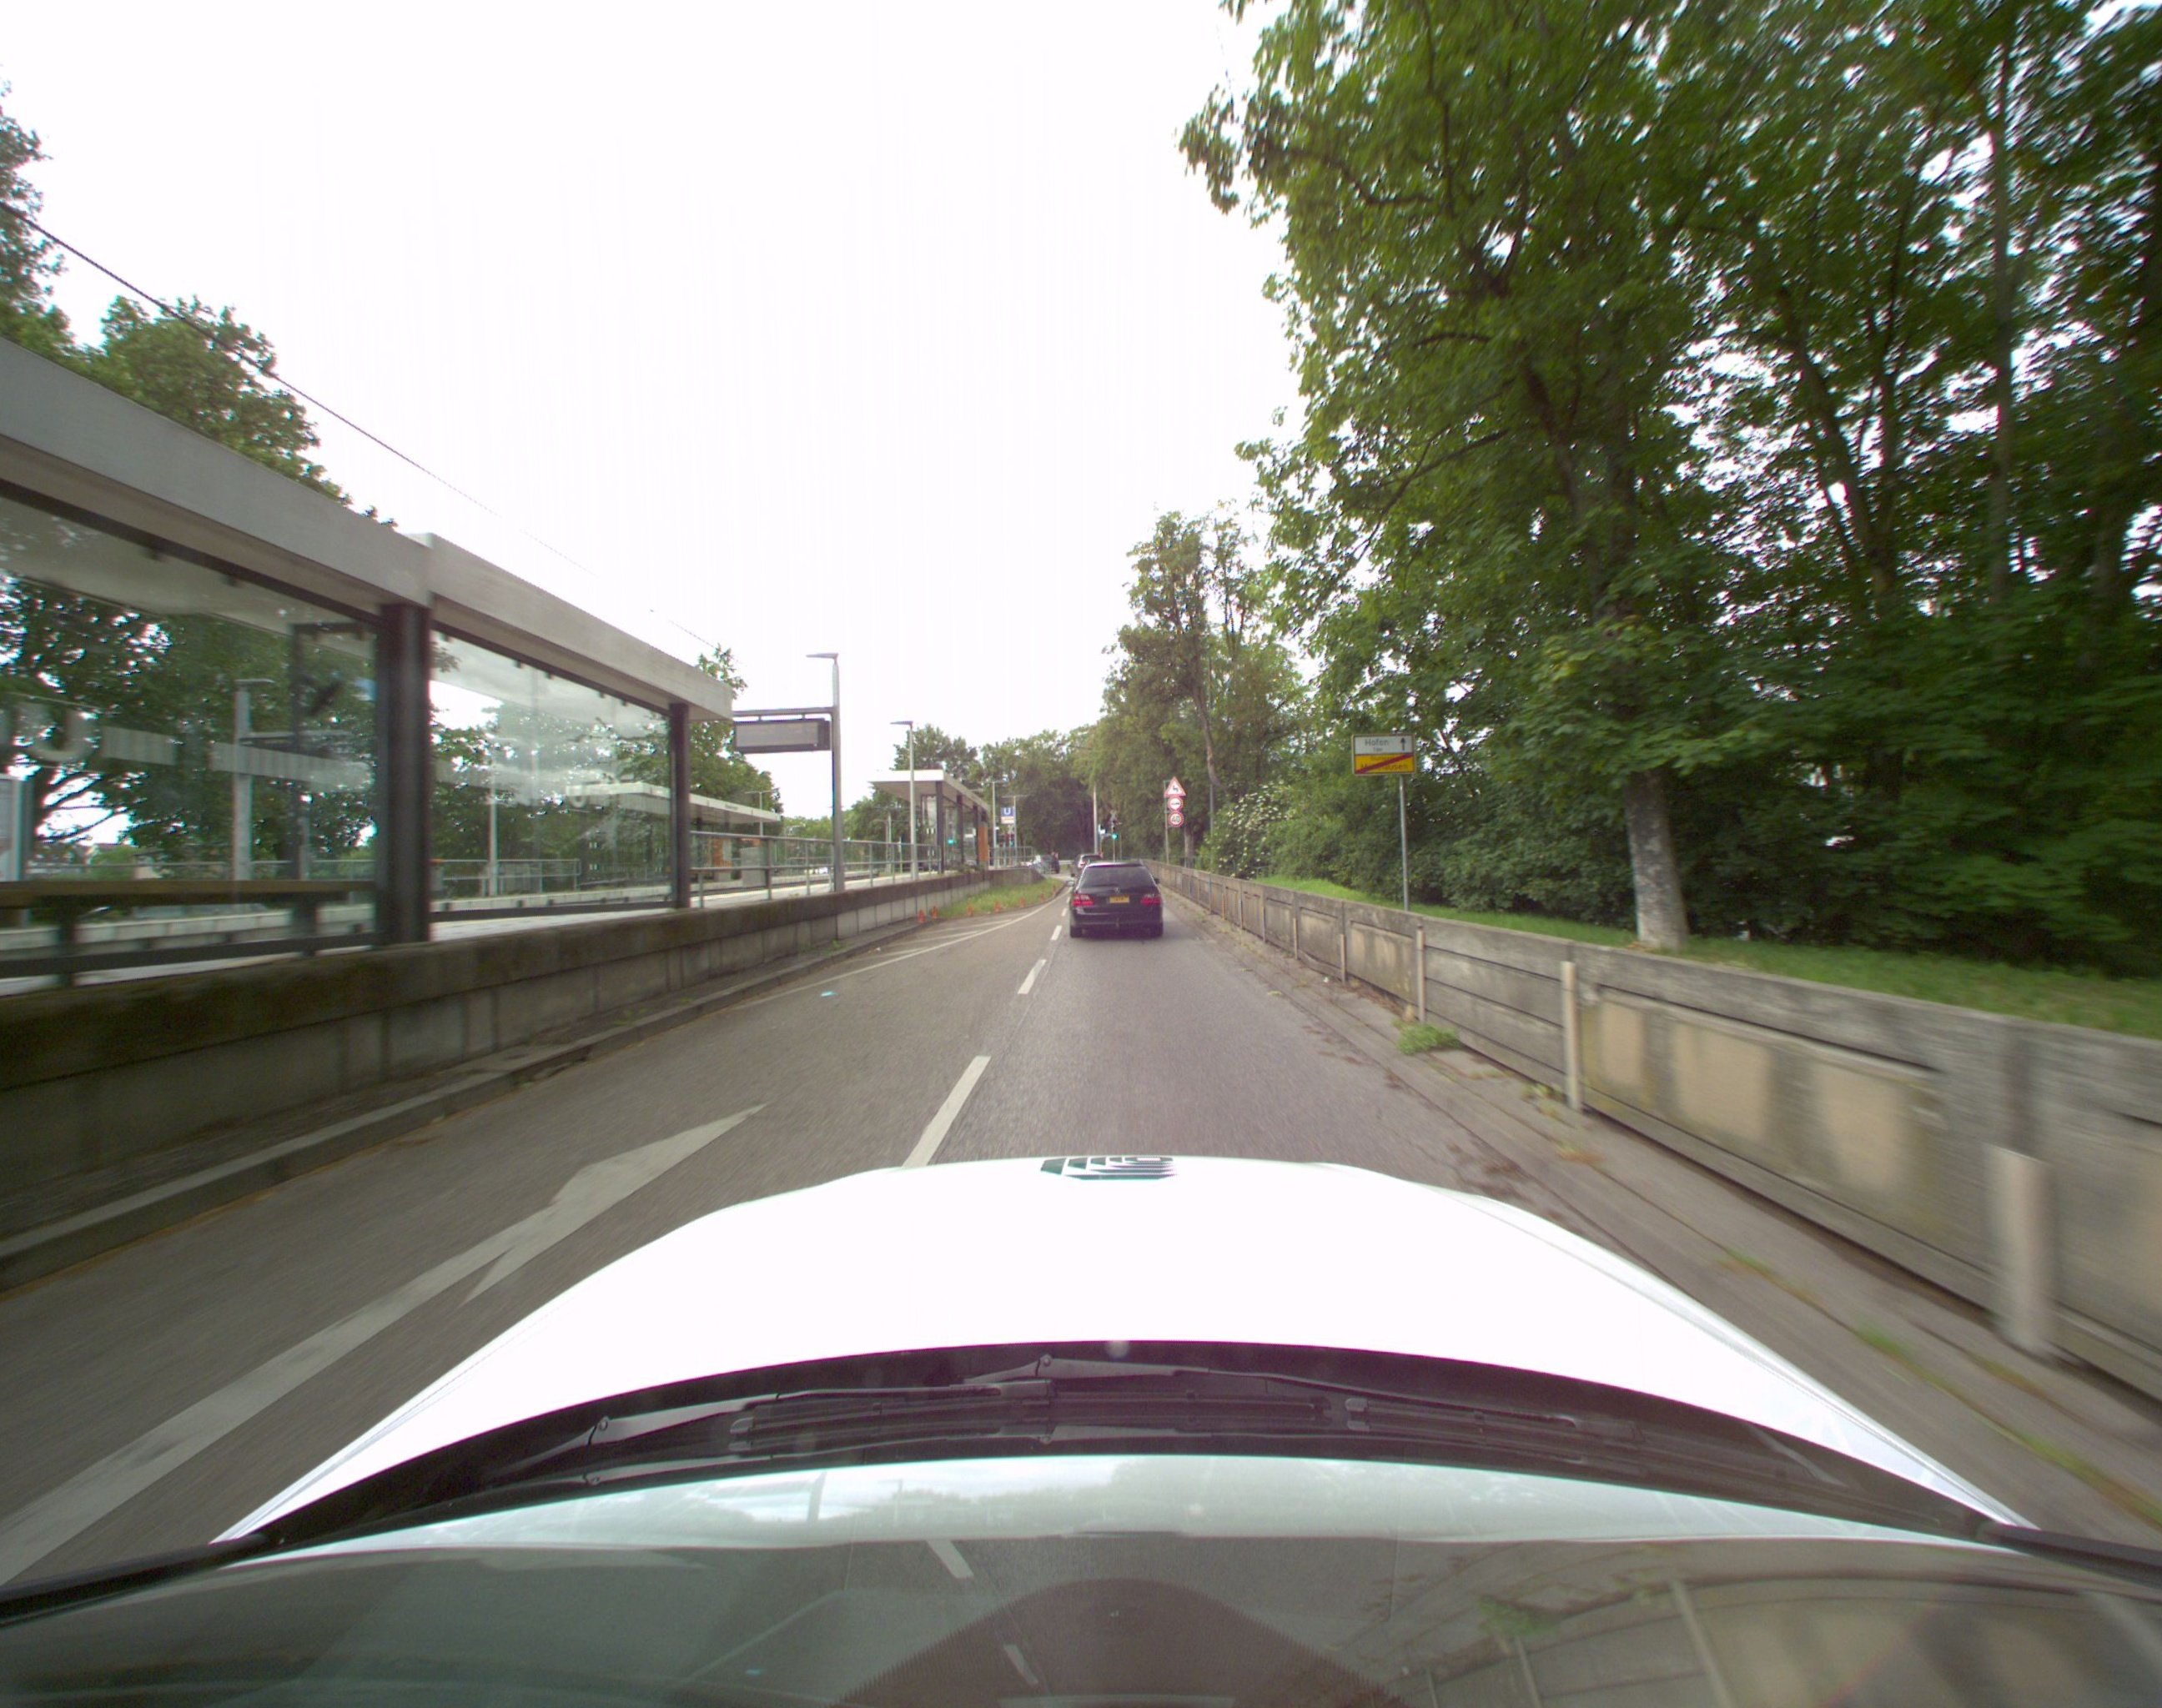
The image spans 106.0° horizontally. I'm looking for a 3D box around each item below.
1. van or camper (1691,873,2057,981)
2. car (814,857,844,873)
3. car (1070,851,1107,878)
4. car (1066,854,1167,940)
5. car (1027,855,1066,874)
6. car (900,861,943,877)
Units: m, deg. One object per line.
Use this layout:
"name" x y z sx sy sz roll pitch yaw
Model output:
"van or camper" 17.196 1.462 18.307 2.175 2.014 5.826 1 -2 -7
"car" -28.107 1.269 90.843 3.347 1.706 1.624 -1 -2 41
"car" 0.430 0.679 53.029 1.781 1.648 3.987 -1 0 -9
"car" 0.711 0.769 16.611 1.775 1.525 4.002 -1 0 2
"car" -2.721 0.802 63.465 1.999 1.399 3.975 -1 0 -19
"car" -15.047 1.437 76.781 3.950 1.399 2.012 -1 0 45
